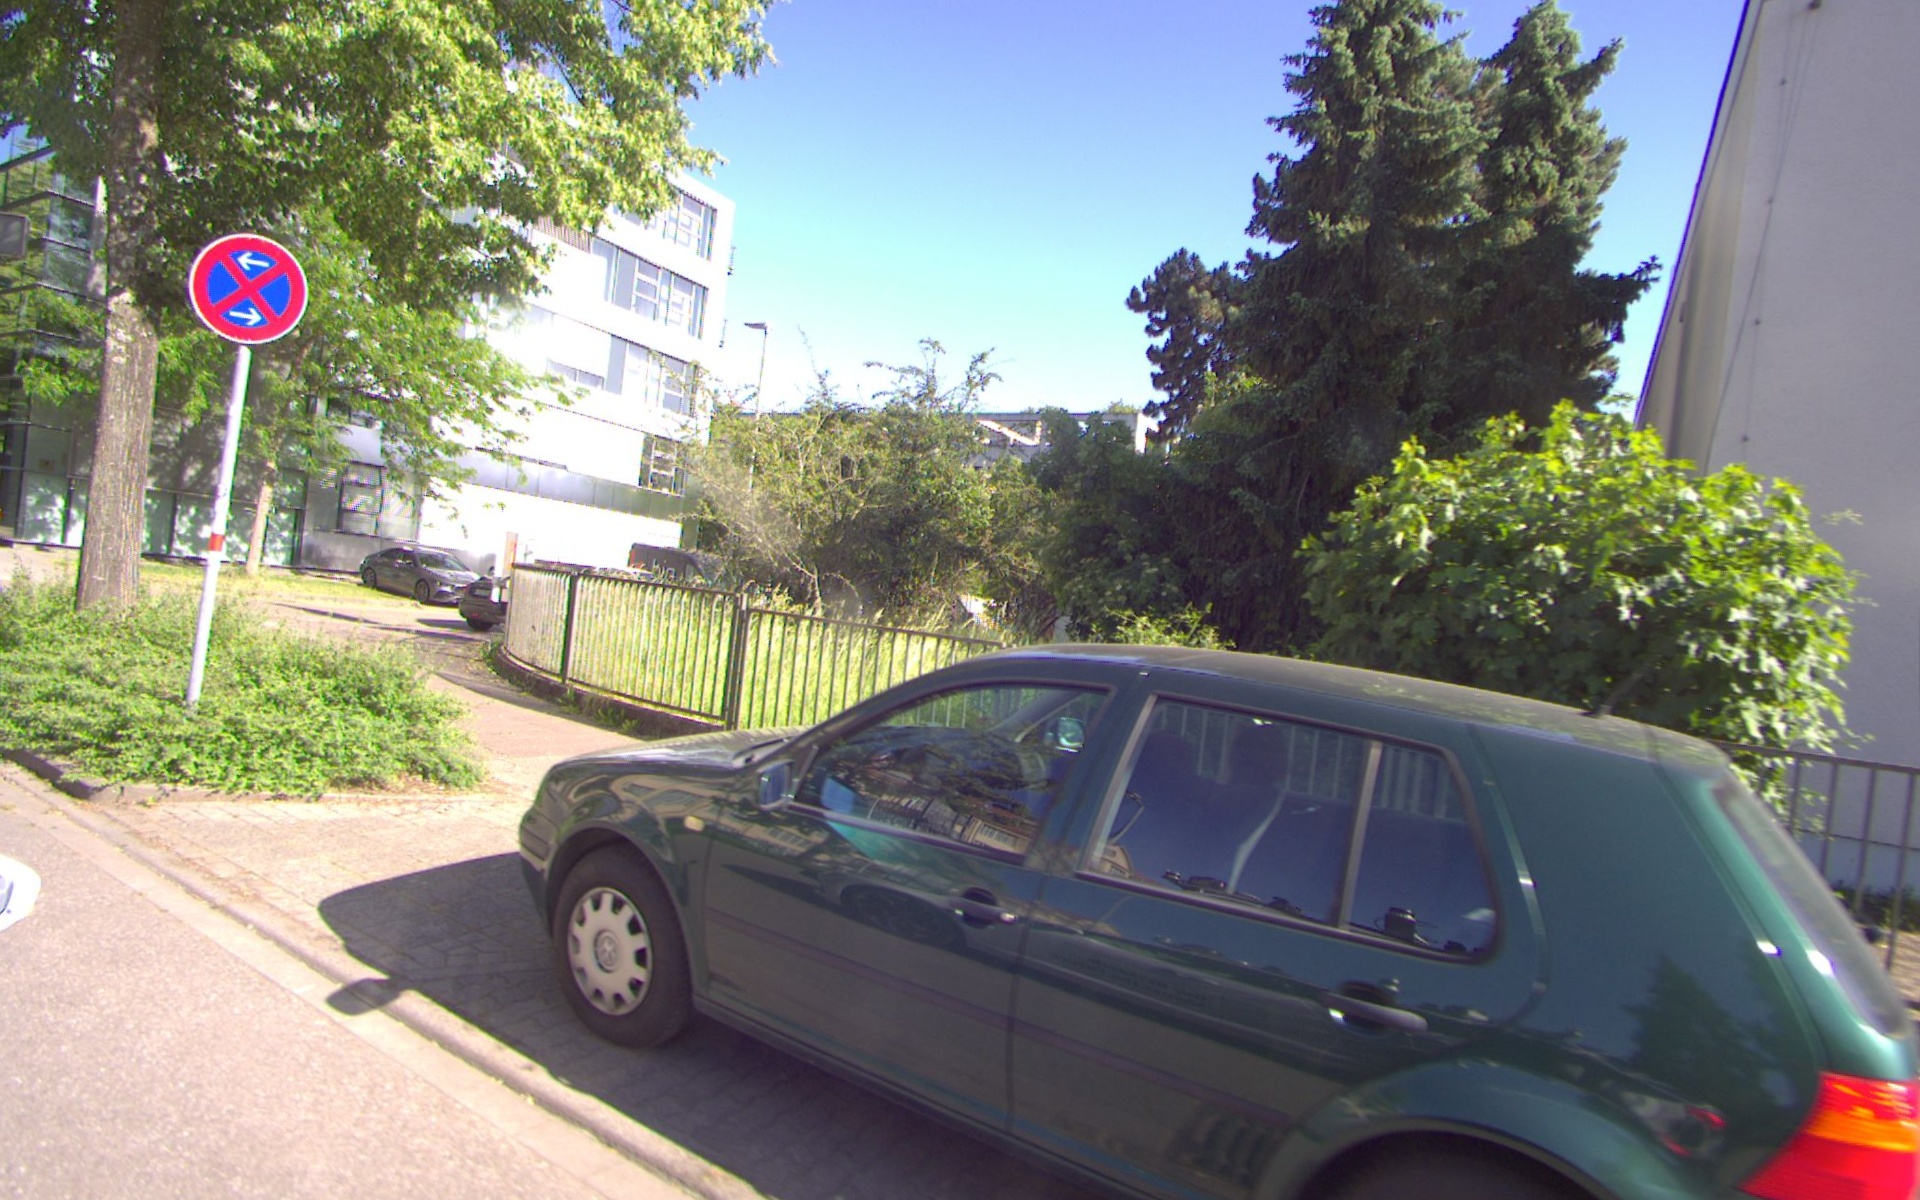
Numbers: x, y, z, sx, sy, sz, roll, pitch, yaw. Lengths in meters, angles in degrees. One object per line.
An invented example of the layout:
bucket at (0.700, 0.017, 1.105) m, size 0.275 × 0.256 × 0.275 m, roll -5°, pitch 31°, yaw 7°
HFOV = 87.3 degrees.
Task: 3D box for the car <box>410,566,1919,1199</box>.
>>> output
car at (0.385, 0.828, 3.141) m, size 4.352 × 1.440 × 1.747 m, roll 6°, pitch 1°, yaw 32°

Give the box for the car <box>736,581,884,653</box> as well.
car at (-4.219, 0.544, 28.943) m, size 1.801 × 1.648 × 4.286 m, roll 5°, pitch -2°, yaw 31°

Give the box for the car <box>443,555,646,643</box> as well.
car at (-8.901, 0.024, 21.827) m, size 1.630 × 1.490 × 3.758 m, roll 5°, pitch -2°, yaw 30°

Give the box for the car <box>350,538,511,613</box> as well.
car at (-14.919, -0.703, 28.301) m, size 4.473 × 1.367 × 1.889 m, roll 10°, pitch 1°, yaw 31°

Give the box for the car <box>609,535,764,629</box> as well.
car at (-10.162, -0.687, 37.176) m, size 5.382 × 2.655 × 2.226 m, roll 9°, pitch 1°, yaw 32°

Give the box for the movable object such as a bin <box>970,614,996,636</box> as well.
movable object such as a bin at (1.463, 1.585, 63.659) m, size 0.654 × 1.196 × 1.931 m, roll 7°, pitch 0°, yaw 31°

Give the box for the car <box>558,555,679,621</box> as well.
car at (-11.970, -0.422, 35.230) m, size 3.780 × 1.665 × 1.888 m, roll 9°, pitch 1°, yaw 32°
